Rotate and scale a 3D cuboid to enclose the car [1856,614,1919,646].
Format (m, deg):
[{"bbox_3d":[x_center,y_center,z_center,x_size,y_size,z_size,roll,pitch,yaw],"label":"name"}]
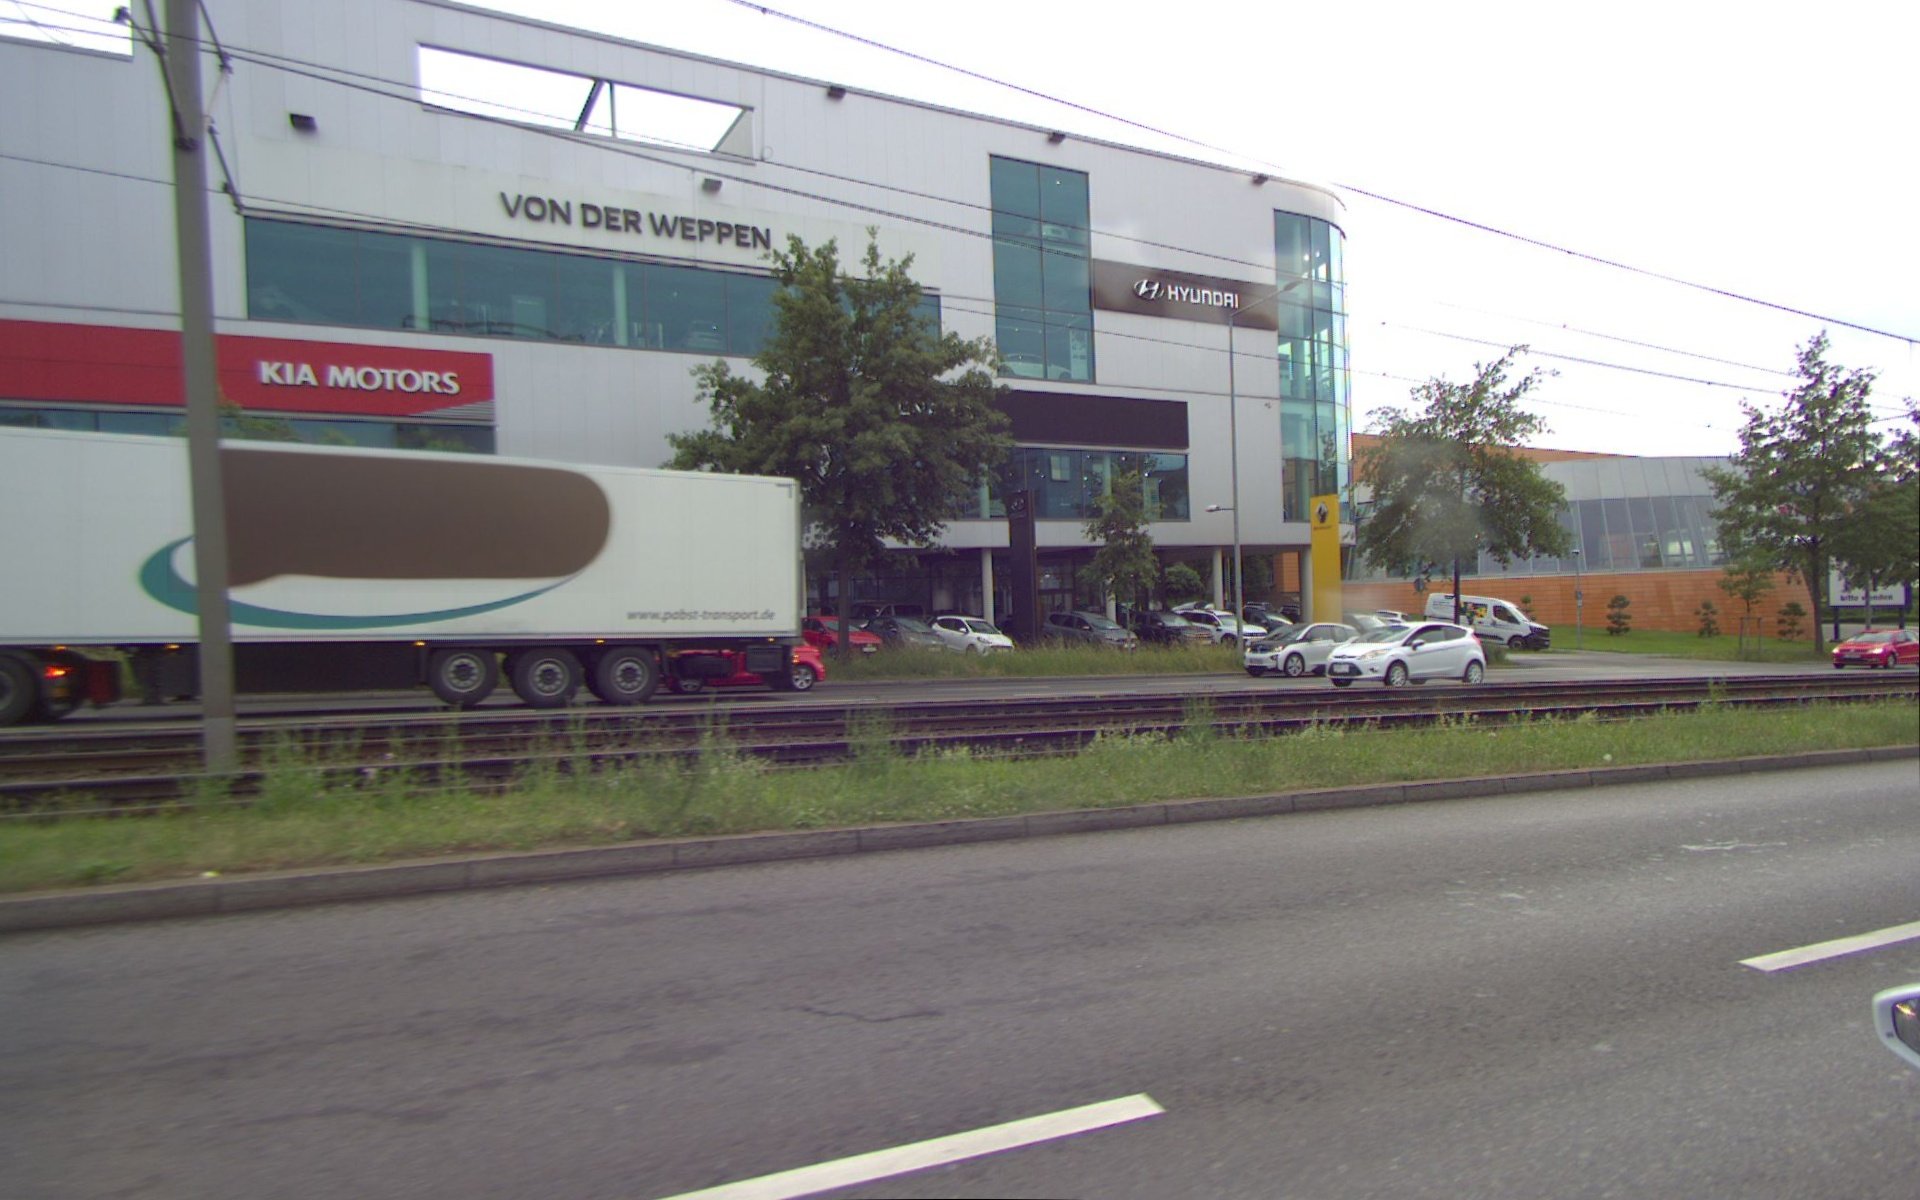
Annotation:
[{"bbox_3d":[60.018,1.890,63.704,2.071,1.834,4.306,-1,1,-27],"label":"car"}]

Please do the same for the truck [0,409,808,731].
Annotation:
[{"bbox_3d":[-10.983,-0.413,15.772,16.978,4.237,3.031,0,1,-27],"label":"truck"}]

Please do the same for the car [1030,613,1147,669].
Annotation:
[{"bbox_3d":[4.877,1.530,38.608,1.999,2.002,4.574,1,-1,-33],"label":"car"}]

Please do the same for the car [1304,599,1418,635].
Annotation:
[{"bbox_3d":[21.645,0.877,54.357,2.251,1.808,5.272,1,0,-43],"label":"car"}]

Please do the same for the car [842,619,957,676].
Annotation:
[{"bbox_3d":[-2.174,1.604,35.259,1.868,1.889,4.308,1,-1,-39],"label":"car"}]

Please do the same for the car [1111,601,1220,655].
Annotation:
[{"bbox_3d":[8.031,1.099,39.611,1.853,2.002,4.327,1,-1,-30],"label":"car"}]

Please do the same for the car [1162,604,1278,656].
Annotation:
[{"bbox_3d":[10.634,1.201,41.406,1.996,2.002,4.580,1,-1,-30],"label":"car"}]

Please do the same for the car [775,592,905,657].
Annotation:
[{"bbox_3d":[-4.076,0.798,33.595,2.007,2.002,4.556,1,-1,-44],"label":"car"}]

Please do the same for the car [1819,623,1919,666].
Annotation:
[{"bbox_3d":[33.785,1.635,37.058,3.841,1.461,1.659,1,0,-23],"label":"car"}]

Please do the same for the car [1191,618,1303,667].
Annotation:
[{"bbox_3d":[12.373,1.794,43.576,1.996,2.002,4.580,1,-1,-30],"label":"car"}]

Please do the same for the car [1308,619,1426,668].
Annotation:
[{"bbox_3d":[17.776,1.856,44.128,1.997,2.002,4.579,1,-1,-30],"label":"car"}]

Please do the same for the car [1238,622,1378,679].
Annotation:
[{"bbox_3d":[10.362,1.475,29.896,3.841,1.564,1.659,1,0,-23],"label":"car"}]

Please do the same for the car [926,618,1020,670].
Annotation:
[{"bbox_3d":[0.429,1.536,36.081,1.657,1.769,3.299,1,-1,-39],"label":"car"}]

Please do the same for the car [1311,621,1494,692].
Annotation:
[{"bbox_3d":[9.988,1.236,22.645,3.844,1.461,1.658,1,0,-25],"label":"car"}]

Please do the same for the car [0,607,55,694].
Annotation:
[{"bbox_3d":[-23.395,1.156,24.319,2.007,1.958,4.906,1,-1,-44],"label":"car"}]

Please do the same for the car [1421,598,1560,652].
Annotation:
[{"bbox_3d":[26.049,1.167,49.483,2.251,2.464,5.585,1,0,-43],"label":"car"}]
